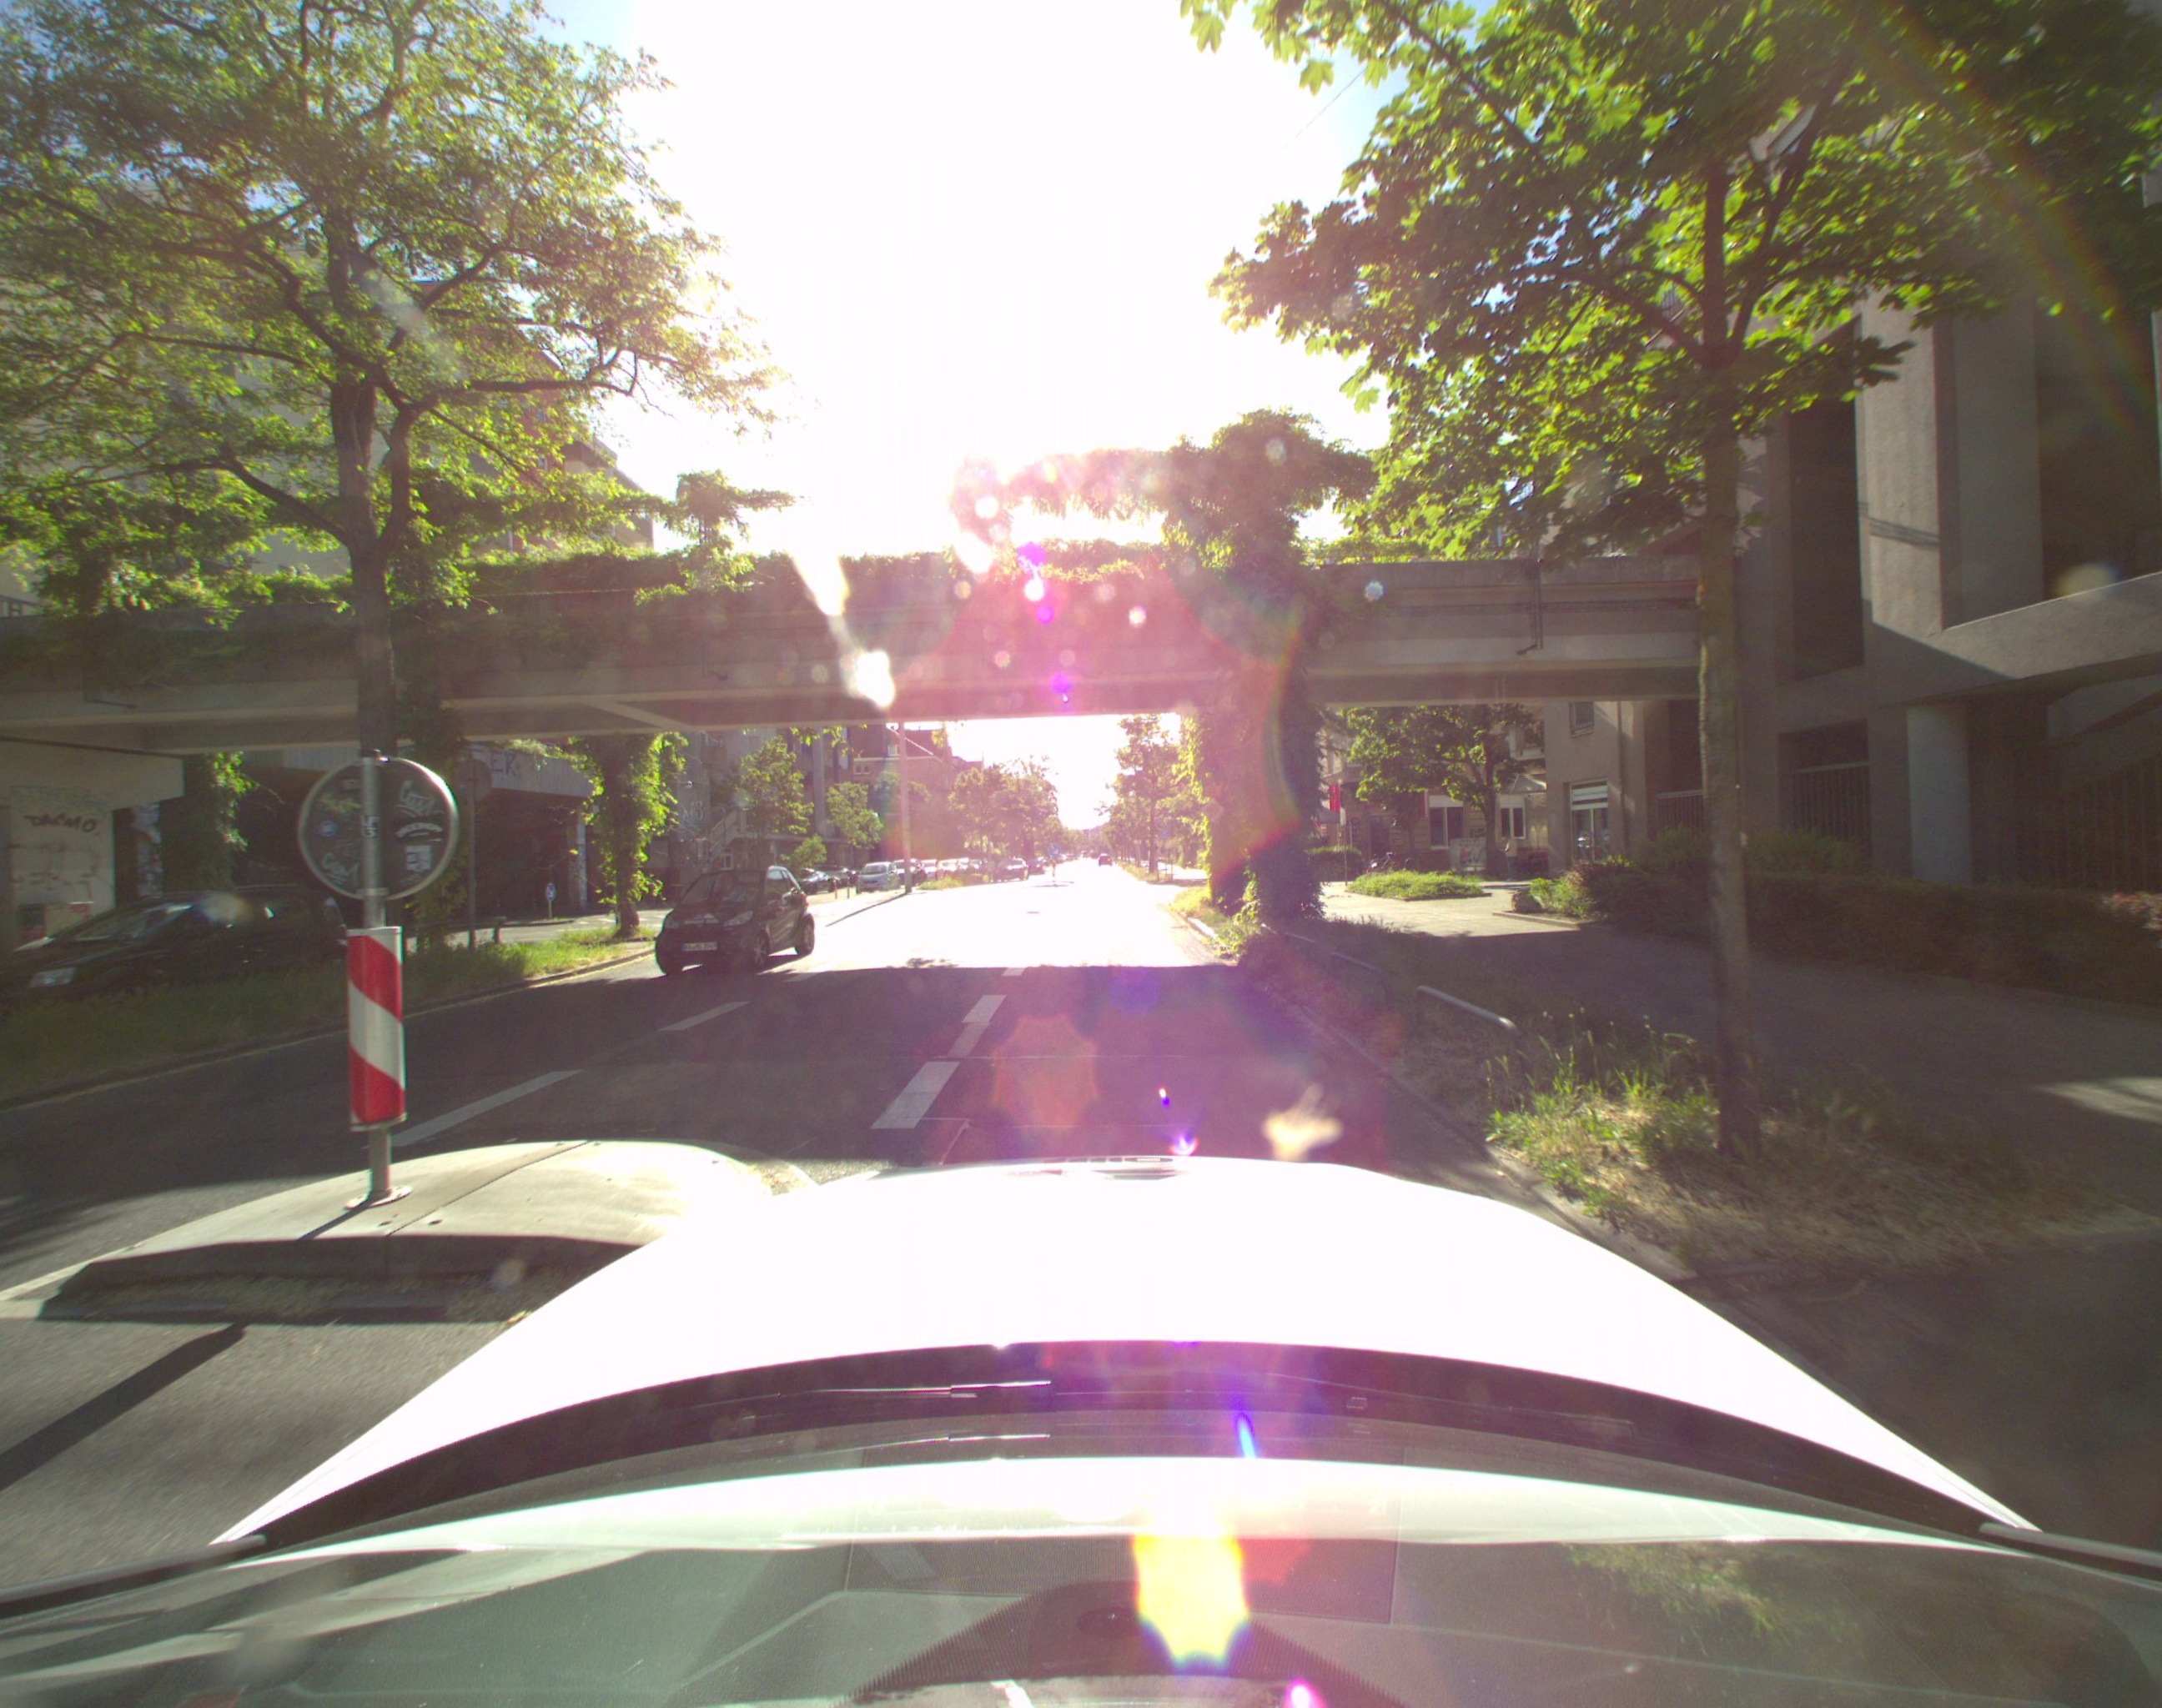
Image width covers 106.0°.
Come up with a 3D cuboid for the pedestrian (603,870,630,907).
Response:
[{"bbox_3d":[-21.540,1.587,37.800,0.753,1.699,0.796,0,-1,0],"label":"pedestrian"}]

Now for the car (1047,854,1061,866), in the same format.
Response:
[{"bbox_3d":[-4.925,1.032,149.177,2.052,2.013,4.633,-3,0,3],"label":"car"}]

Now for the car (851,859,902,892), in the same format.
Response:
[{"bbox_3d":[-10.602,1.101,42.434,1.714,1.518,3.530,-3,0,-1],"label":"car"}]

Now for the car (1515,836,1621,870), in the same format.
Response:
[{"bbox_3d":[22.279,-0.086,37.342,3.987,1.440,1.774,-1,3,-10],"label":"car"}]

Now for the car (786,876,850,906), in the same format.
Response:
[{"bbox_3d":[-15.114,2.097,47.026,1.883,1.398,4.534,-3,0,4],"label":"car"}]

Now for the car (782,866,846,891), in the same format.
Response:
[{"bbox_3d":[-18.961,1.710,57.953,3.977,1.551,1.768,-2,0,-3],"label":"car"}]

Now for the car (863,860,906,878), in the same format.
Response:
[{"bbox_3d":[-20.438,1.540,84.704,3.977,1.629,1.686,-2,0,-3],"label":"car"}]

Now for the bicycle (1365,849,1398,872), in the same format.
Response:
[{"bbox_3d":[13.124,0.283,35.575,1.309,0.974,0.392,-2,0,-10],"label":"bicycle"}]

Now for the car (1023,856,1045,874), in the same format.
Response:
[{"bbox_3d":[-4.121,0.963,71.479,1.645,1.428,3.508,-2,0,1],"label":"car"}]

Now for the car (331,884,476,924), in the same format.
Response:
[{"bbox_3d":[-28.320,2.069,34.114,4.573,1.433,1.858,-3,-2,2],"label":"car"}]

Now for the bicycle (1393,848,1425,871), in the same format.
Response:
[{"bbox_3d":[14.660,0.250,36.381,1.309,0.974,0.392,-2,0,-10],"label":"bicycle"}]

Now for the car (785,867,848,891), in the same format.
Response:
[{"bbox_3d":[-19.448,1.827,59.969,3.977,1.607,1.840,-2,0,-3],"label":"car"}]

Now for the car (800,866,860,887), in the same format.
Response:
[{"bbox_3d":[-19.238,1.712,62.544,3.977,1.424,1.686,-2,0,-3],"label":"car"}]

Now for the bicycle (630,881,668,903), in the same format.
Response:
[{"bbox_3d":[-21.369,1.879,40.330,1.618,1.001,0.412,-1,1,-22],"label":"bicycle"}]

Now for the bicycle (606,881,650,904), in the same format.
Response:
[{"bbox_3d":[-21.973,1.855,39.515,1.794,1.001,0.483,-2,1,-7],"label":"bicycle"}]

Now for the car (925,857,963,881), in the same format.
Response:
[{"bbox_3d":[-10.162,1.057,60.668,1.855,1.587,4.004,-4,0,3],"label":"car"}]

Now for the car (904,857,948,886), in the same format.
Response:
[{"bbox_3d":[-10.265,1.120,54.283,1.882,1.662,4.531,-4,0,1],"label":"car"}]

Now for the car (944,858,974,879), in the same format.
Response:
[{"bbox_3d":[-9.943,1.148,66.705,1.745,1.553,4.001,-3,0,1],"label":"car"}]

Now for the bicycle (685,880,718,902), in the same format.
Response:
[{"bbox_3d":[-19.141,1.850,41.114,0.411,1.031,1.810,1,1,18],"label":"bicycle"}]

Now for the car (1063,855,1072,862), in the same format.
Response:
[{"bbox_3d":[-3.281,1.134,197.941,1.985,1.695,4.004,-3,0,4],"label":"car"}]

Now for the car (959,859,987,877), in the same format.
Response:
[{"bbox_3d":[-9.569,1.234,72.324,1.748,1.398,4.001,-2,0,1],"label":"car"}]

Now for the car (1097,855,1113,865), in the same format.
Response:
[{"bbox_3d":[3.067,0.723,104.619,1.789,1.223,4.005,-2,0,4],"label":"car"}]

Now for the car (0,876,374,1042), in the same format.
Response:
[{"bbox_3d":[-11.344,1.162,10.070,1.734,1.538,3.780,-5,0,1],"label":"car"}]

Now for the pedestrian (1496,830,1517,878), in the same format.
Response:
[{"bbox_3d":[14.366,0.004,27.506,0.525,1.576,0.638,-3,0,26],"label":"pedestrian"}]

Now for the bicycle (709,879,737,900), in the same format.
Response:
[{"bbox_3d":[-18.954,1.888,43.144,0.411,1.001,1.808,1,1,11],"label":"bicycle"}]

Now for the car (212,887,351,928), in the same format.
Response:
[{"bbox_3d":[-33.618,2.233,34.340,4.037,1.410,1.767,-2,0,0],"label":"car"}]

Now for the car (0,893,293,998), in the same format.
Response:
[{"bbox_3d":[-17.127,1.577,14.992,1.600,1.486,3.648,-3,0,1],"label":"car"}]

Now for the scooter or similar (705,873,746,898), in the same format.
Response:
[{"bbox_3d":[-20.030,1.768,45.953,1.963,1.277,0.630,-2,0,-4],"label":"scooter or similar"}]

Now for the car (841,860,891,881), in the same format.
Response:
[{"bbox_3d":[-19.255,1.453,72.941,3.977,1.629,1.686,-2,0,-3],"label":"car"}]

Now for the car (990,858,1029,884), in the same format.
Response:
[{"bbox_3d":[-4.483,1.035,51.579,1.858,1.458,4.595,-3,0,2],"label":"car"}]

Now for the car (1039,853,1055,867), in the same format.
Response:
[{"bbox_3d":[-5.381,0.962,128.185,1.985,2.013,4.209,-3,0,3],"label":"car"}]

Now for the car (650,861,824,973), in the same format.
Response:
[{"bbox_3d":[-5.414,0.916,13.173,1.461,1.527,2.818,-3,0,2],"label":"car"}]

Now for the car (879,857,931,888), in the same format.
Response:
[{"bbox_3d":[-10.230,1.051,47.628,1.861,1.627,4.507,-3,0,2],"label":"car"}]

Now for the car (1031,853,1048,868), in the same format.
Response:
[{"bbox_3d":[-6.188,0.950,122.307,1.985,2.013,4.210,-3,0,4],"label":"car"}]

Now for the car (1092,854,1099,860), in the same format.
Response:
[{"bbox_3d":[4.179,0.858,236.579,1.751,1.783,4.002,-2,0,2],"label":"car"}]
